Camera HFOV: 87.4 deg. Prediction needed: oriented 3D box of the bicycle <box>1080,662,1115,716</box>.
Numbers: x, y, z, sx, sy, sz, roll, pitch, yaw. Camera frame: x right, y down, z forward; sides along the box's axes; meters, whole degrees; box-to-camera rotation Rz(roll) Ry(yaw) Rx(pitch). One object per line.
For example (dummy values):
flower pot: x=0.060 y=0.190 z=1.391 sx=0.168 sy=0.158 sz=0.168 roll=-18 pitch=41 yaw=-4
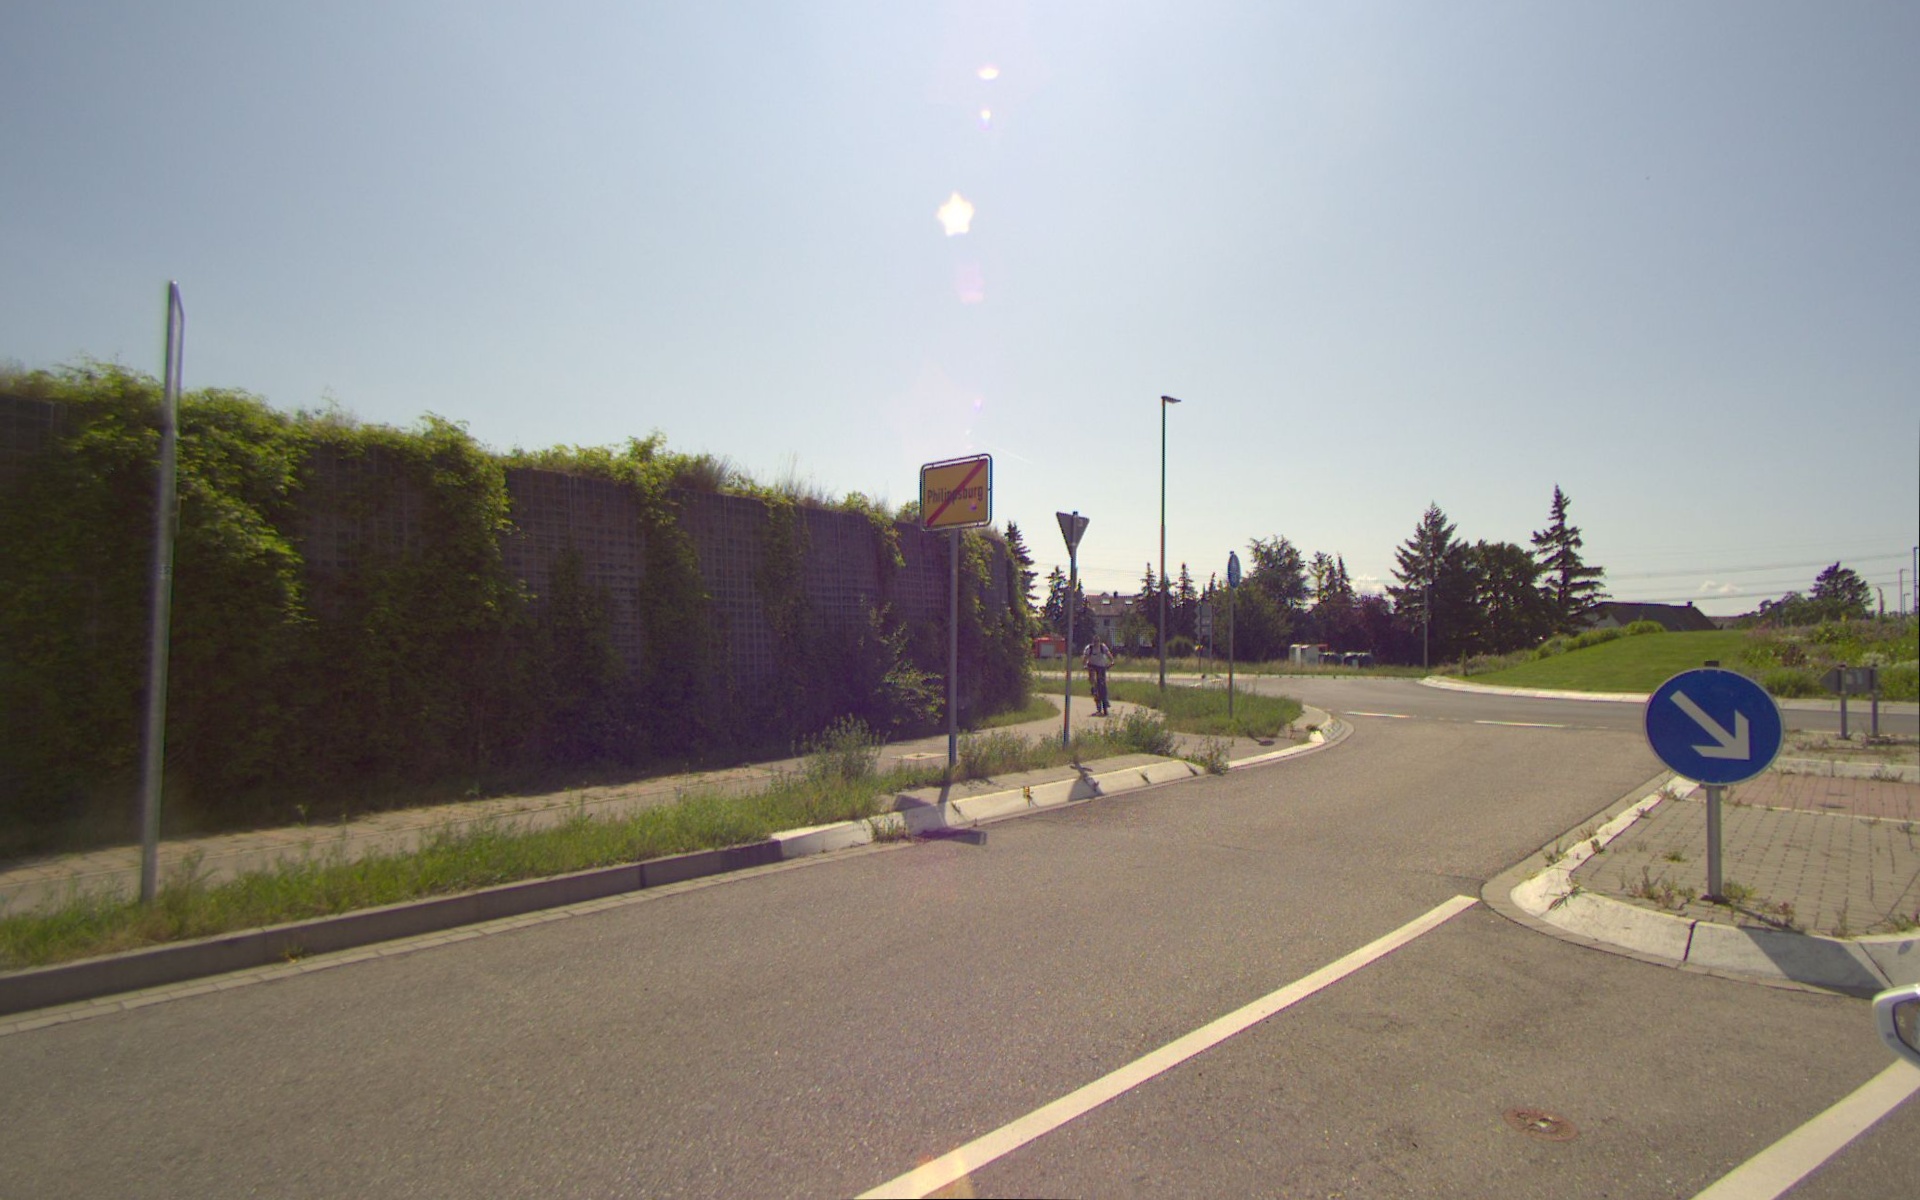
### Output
bicycle: x=3.144 y=2.000 z=22.841 sx=0.738 sy=1.130 sz=2.047 roll=-1 pitch=-2 yaw=9

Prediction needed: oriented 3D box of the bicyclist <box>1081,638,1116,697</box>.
bicyclist: x=3.156 y=1.529 z=22.892 sx=0.738 sy=1.314 sz=0.904 roll=-1 pitch=-2 yaw=10
